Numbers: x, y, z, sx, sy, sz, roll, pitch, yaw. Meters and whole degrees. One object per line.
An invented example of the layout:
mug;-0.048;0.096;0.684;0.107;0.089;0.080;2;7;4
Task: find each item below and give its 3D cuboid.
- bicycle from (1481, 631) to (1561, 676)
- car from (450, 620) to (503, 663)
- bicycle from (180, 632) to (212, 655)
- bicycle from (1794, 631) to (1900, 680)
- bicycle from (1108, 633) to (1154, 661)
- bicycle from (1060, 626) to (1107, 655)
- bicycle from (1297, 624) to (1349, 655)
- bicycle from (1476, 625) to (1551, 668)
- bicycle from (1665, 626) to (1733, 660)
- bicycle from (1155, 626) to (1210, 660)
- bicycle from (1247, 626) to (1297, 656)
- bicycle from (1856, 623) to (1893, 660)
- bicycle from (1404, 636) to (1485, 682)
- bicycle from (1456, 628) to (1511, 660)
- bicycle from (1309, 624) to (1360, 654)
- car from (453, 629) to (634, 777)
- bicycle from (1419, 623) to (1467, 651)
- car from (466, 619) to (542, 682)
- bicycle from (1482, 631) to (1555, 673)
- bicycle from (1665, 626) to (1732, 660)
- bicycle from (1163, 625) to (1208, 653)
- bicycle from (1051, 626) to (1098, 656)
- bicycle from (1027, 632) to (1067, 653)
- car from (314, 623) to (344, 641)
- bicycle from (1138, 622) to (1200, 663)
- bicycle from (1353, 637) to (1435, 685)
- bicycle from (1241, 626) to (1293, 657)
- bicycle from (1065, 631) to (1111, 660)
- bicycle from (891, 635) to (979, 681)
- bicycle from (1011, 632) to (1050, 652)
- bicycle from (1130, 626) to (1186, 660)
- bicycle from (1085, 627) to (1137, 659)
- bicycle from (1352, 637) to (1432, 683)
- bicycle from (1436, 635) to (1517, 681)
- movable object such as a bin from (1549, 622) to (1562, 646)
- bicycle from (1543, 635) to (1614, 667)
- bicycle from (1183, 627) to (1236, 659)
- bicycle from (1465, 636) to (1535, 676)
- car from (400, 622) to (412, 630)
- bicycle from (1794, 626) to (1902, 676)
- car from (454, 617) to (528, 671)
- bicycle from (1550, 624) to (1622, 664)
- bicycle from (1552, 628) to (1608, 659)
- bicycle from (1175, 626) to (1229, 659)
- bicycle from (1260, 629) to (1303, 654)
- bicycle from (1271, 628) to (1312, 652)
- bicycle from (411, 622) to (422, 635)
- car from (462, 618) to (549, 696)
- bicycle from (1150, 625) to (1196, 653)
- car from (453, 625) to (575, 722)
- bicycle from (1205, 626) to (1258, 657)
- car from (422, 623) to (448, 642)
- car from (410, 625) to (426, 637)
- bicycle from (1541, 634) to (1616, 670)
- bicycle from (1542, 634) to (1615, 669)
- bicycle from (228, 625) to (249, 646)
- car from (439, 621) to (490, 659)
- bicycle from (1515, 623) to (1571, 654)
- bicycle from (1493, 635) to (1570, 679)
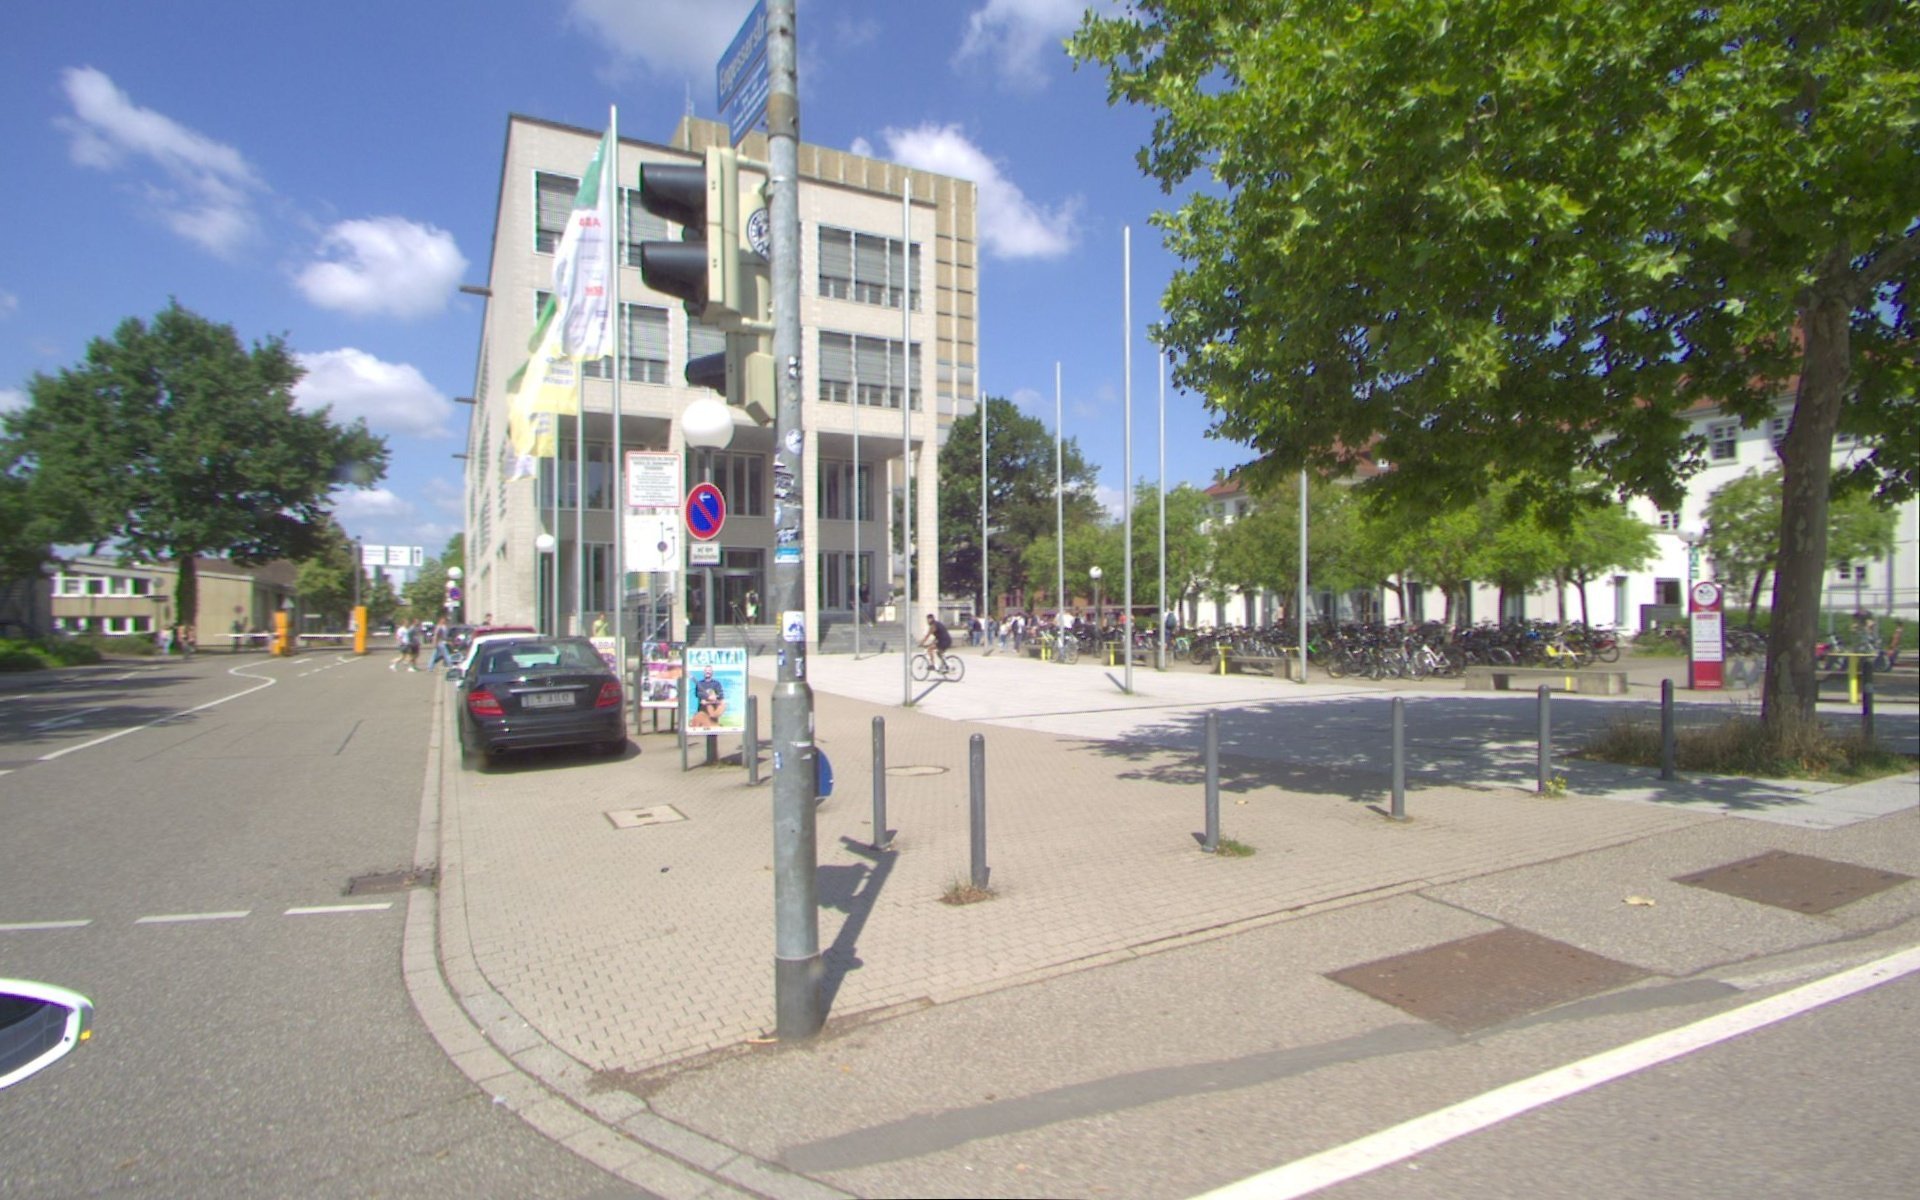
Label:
bicycle;14.446;1.383;25.813;1.743;1.112;0.601;-3;-3;32
car;-18.183;1.517;37.575;1.596;1.516;3.987;0;-1;-29
bicycle;-33.810;1.918;44.345;0.783;1.002;2.200;0;-1;-28
bicycle;20.792;1.310;23.525;1.743;1.112;0.601;-3;-3;32
bicycle;7.051;1.959;41.272;1.743;1.112;0.601;-3;-3;32
bicycle;4.908;1.609;39.869;1.743;1.112;0.601;-3;-3;32
bicycle;13.896;1.524;38.338;1.743;1.112;0.601;-3;-3;32
bicycle;15.023;1.249;27.187;1.742;1.113;0.601;-1;-1;32
bicycle;24.830;1.457;33.674;1.743;1.112;0.513;-3;-3;32
bicycle;7.678;1.497;34.584;1.743;1.112;0.601;-3;-3;32
bicycle;12.018;1.598;38.603;1.743;1.112;0.601;-3;-3;32
bicycle;30.027;1.358;32.867;1.568;1.153;0.603;0;1;-37
bicycle;12.147;1.486;25.107;1.743;1.112;0.601;-3;-3;32
bicycle;19.513;1.643;37.317;1.743;1.112;0.601;-3;-3;32
bicycle;14.548;1.539;38.945;1.743;1.112;0.601;-3;-3;32
car;-5.454;1.112;12.717;1.697;1.418;4.927;-2;0;-27
bicycle;20.716;1.596;42.959;1.743;1.112;0.601;-3;-3;32
car;-12.365;1.314;27.033;1.698;1.549;3.983;0;-1;-27
bicycle;15.472;1.429;27.774;1.742;1.113;0.601;0;-1;32
bicycle;25.186;1.474;34.176;1.743;1.112;0.590;-3;-3;32
bicycle;9.539;1.666;42.453;1.743;1.112;0.601;-3;-3;32
bicycle;4.483;1.619;39.287;1.743;1.112;0.601;-3;-3;32
bicycle;3.536;1.712;40.671;1.748;0.803;0.516;0;-1;-40
car;-57.571;2.894;91.440;1.970;1.565;4.194;1;-1;-27
bicycle;6.794;1.380;32.567;1.840;1.313;0.662;-1;-2;-15
bicycle;10.532;1.483;24.315;1.743;1.112;0.601;-3;-3;32
bicycle;11.451;1.549;37.368;1.743;1.112;0.601;-3;-3;32
bicycle;5.188;1.851;40.551;1.743;1.112;0.601;-3;-3;32
bicycle;-0.626;1.478;25.804;2.114;1.093;0.903;0;0;13
bicycle;2.945;1.736;41.632;1.748;0.803;0.516;0;-1;-40
bicycle;6.732;1.483;34.070;1.743;1.112;0.601;-3;-3;32
bicycle;5.473;1.555;36.255;1.743;1.112;0.601;-3;-3;32
bicycle;10.776;1.511;24.984;1.743;1.112;0.601;-3;-3;32
bicycle;13.057;1.476;25.327;1.743;1.112;0.601;-3;-3;32
movable object such as a bin;26.776;1.546;45.021;0.363;1.069;0.387;0;1;-32
bicycle;17.873;1.468;28.972;1.742;0.880;0.482;-1;-1;32
bicycle;9.020;1.564;36.210;1.743;1.112;0.601;-3;-3;32
bicycle;15.610;1.599;28.965;1.742;1.113;0.601;-1;-1;32
car;-126.765;5.975;229.171;1.968;1.741;3.988;0;-3;-25
bicycle;20.344;1.175;22.990;1.743;1.112;0.601;-3;-3;32
car;-15.135;1.364;32.191;1.700;1.549;4.542;-2;0;-30
bicycle;18.356;1.306;29.415;1.743;1.112;0.601;-3;-3;32
bicycle;23.153;1.634;37.436;1.743;1.112;0.601;-3;-3;32
bicycle;8.600;1.525;35.573;1.743;1.112;0.601;-3;-3;32
bicycle;14.828;1.913;46.199;1.743;1.112;0.601;-3;-3;32
bicycle;15.732;1.912;47.581;1.743;1.112;0.601;-3;-3;32
bicycle;-60.590;3.161;111.675;0.975;1.332;2.952;0;-3;-28
car;-10.321;1.202;22.596;1.594;1.516;4.130;-2;0;-27
bicycle;8.795;1.624;41.442;1.743;1.112;0.601;-3;-3;32
car;-8.057;1.200;17.869;1.697;1.418;4.420;-3;0;-27
bicycle;9.926;1.521;36.653;1.743;1.112;0.601;-3;-3;32
car;-46.570;2.878;88.887;1.970;1.565;4.194;0;-1;-27
car;-86.196;4.971;159.315;1.968;1.741;3.988;0;-3;-25
bicycle;17.031;1.413;27.605;1.742;0.967;0.601;-1;-1;32
bicycle;17.451;1.438;28.288;1.742;0.967;0.601;-1;-1;32
bicycle;-41.414;2.015;57.490;0.684;1.186;2.200;0;-1;-28
car;-20.672;1.629;41.699;1.844;1.483;4.500;0;-1;-28
bicycle;21.585;1.436;37.082;1.743;1.112;0.601;-3;-3;32
bicycle;15.050;1.484;26.399;1.742;1.113;0.601;-1;-2;32
